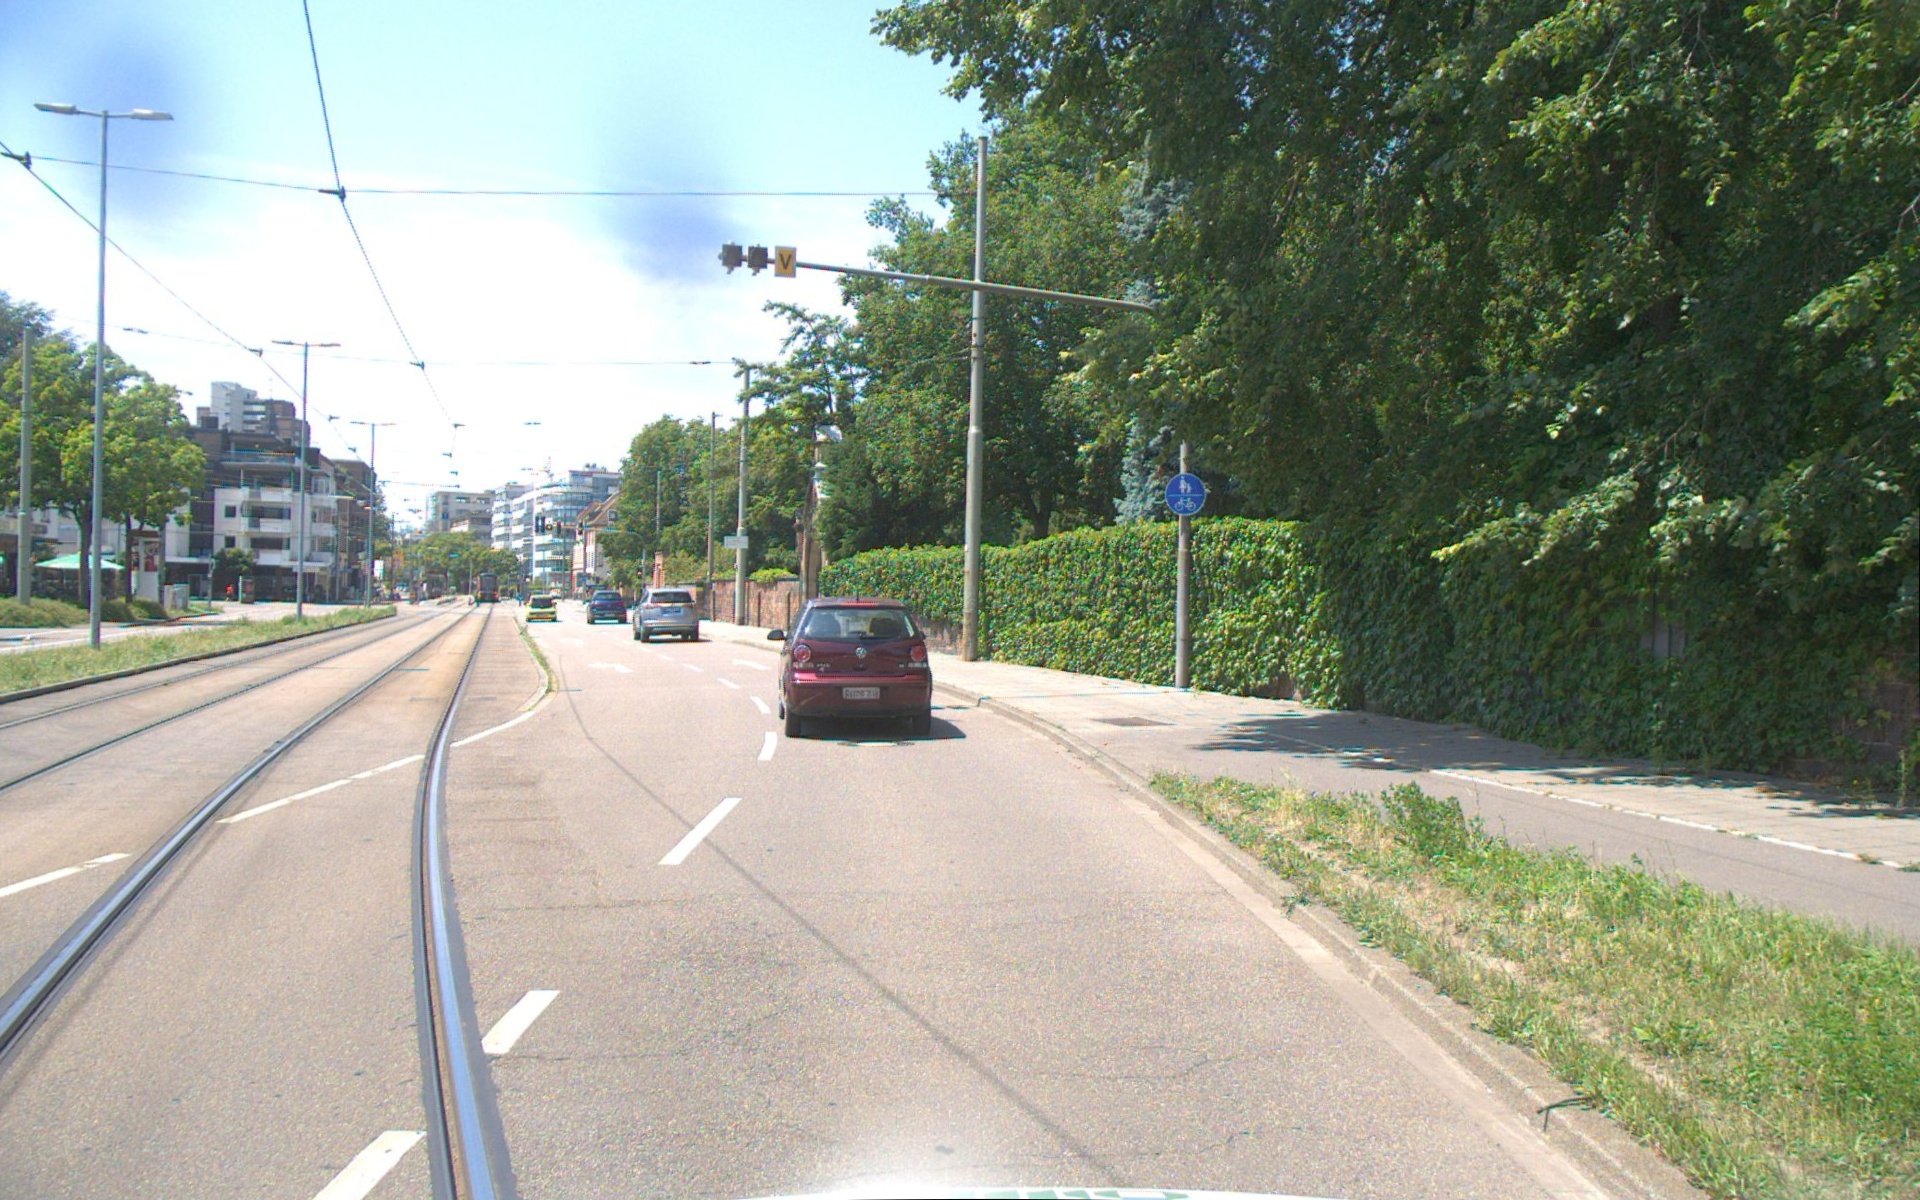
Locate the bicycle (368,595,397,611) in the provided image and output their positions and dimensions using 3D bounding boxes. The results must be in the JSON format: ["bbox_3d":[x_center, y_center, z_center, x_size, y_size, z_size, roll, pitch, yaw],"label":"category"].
[{"bbox_3d":[-53.442,0.246,153.010,2.482,1.444,0.631,0,0,-30],"label":"bicycle"}]

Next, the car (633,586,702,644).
[{"bbox_3d":[-9.330,0.440,52.561,1.766,1.712,3.984,2,0,-15],"label":"car"}]

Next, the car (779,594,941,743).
[{"bbox_3d":[-1.242,0.693,19.088,1.579,1.524,3.993,0,0,-8],"label":"car"}]

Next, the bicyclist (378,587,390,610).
[{"bbox_3d":[-53.336,-0.104,153.105,0.945,2.128,0.845,0,0,-29],"label":"bicyclist"}]

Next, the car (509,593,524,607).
[{"bbox_3d":[-42.780,0.024,159.667,1.331,1.274,2.960,2,0,-15],"label":"car"}]

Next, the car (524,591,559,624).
[{"bbox_3d":[-23.320,0.425,92.085,1.766,1.712,3.984,2,0,-15],"label":"car"}]

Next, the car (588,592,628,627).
[{"bbox_3d":[-17.765,0.462,83.364,1.745,1.659,3.984,2,0,-15],"label":"car"}]
